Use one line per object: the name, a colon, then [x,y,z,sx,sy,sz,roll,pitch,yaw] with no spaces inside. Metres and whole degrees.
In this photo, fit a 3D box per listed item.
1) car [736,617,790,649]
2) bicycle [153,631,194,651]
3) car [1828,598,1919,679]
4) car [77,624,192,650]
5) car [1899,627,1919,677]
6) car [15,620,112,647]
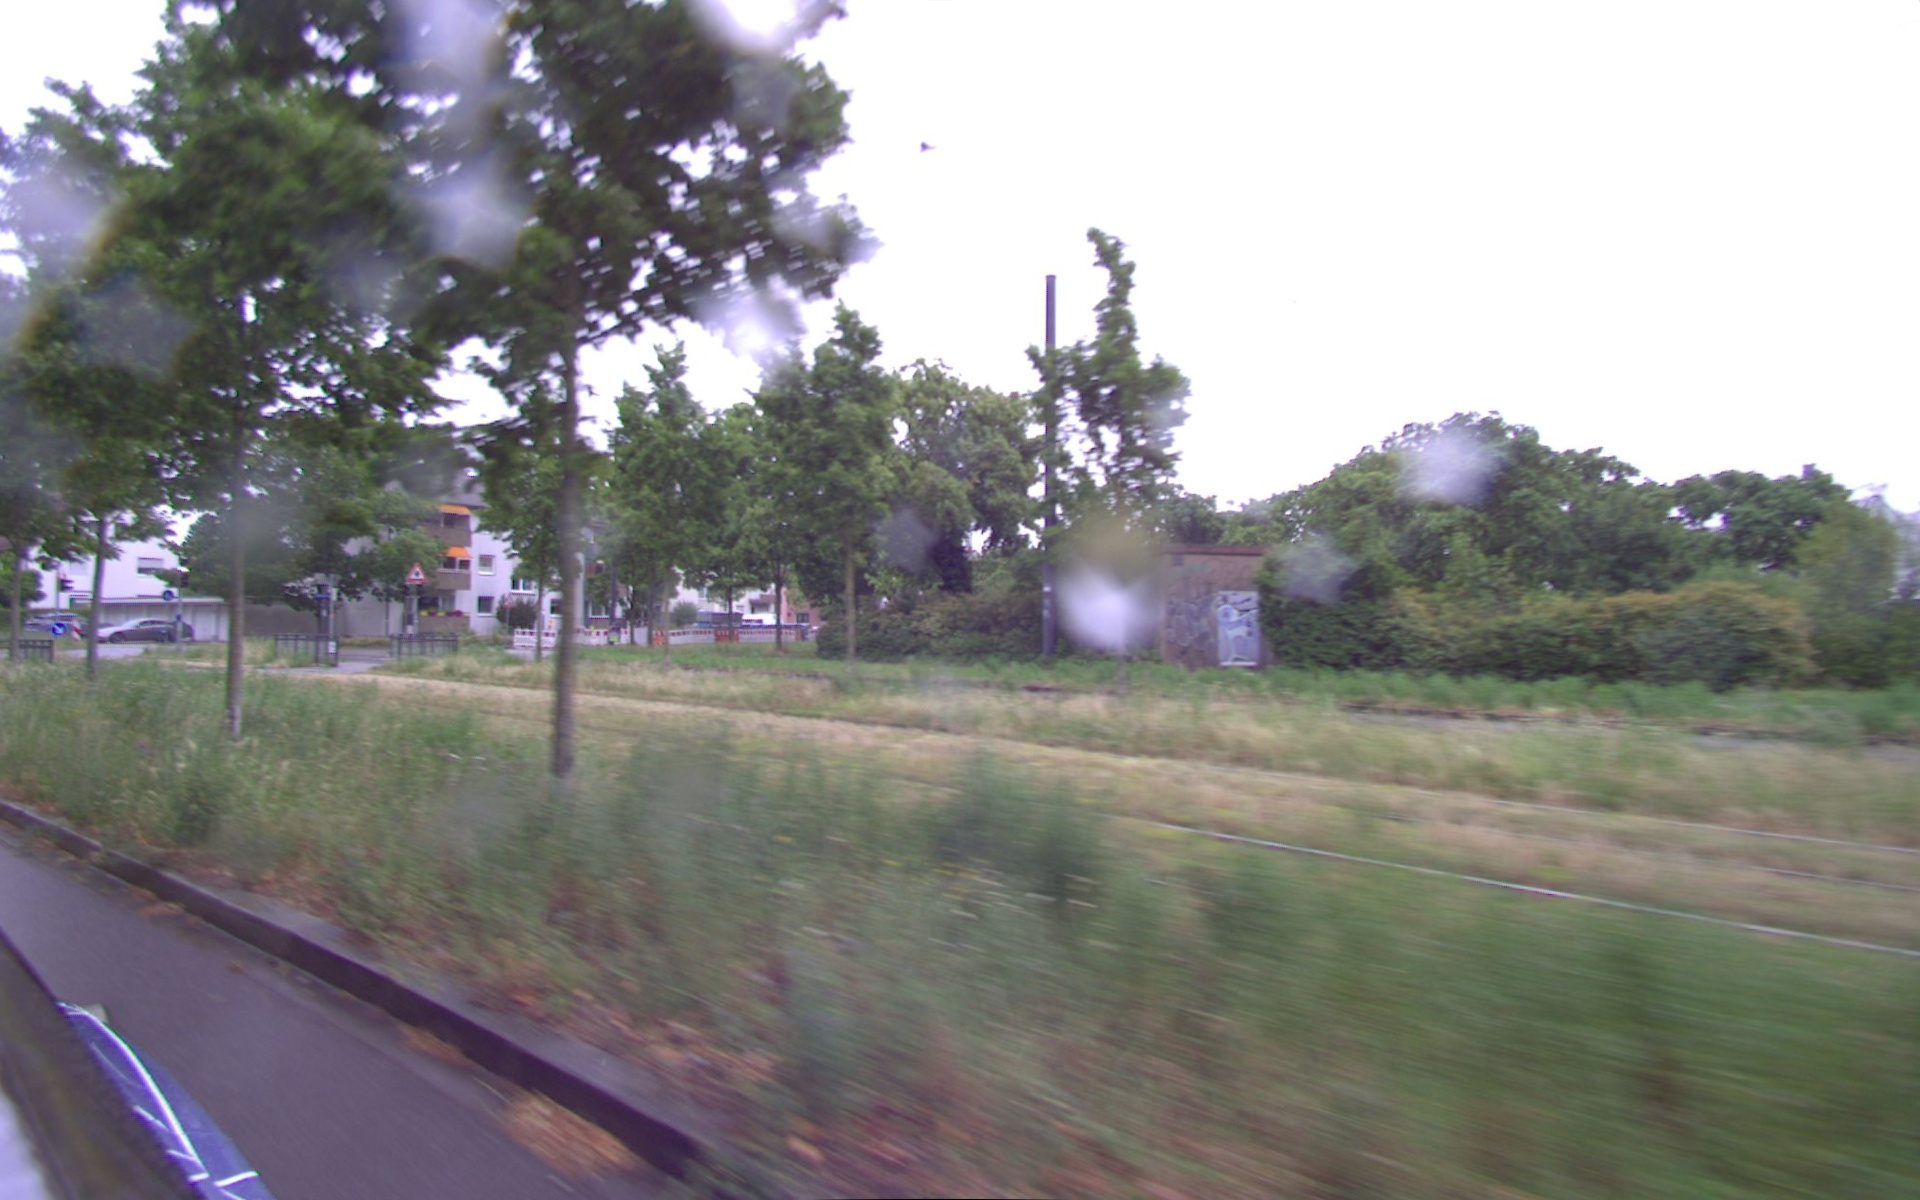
car: [-15.712,2.661,80.939,1.907,2.465,4.432,-1,-3,25]
bicycle: [-41.954,2.187,53.974,1.817,1.027,0.482,-1,1,2]
car: [24.368,0.950,24.513,2.002,1.962,4.728,1,-2,-15]
car: [-46.642,2.042,57.308,1.839,1.376,4.695,-1,-1,28]
car: [26.985,1.347,25.821,1.807,1.349,4.107,1,-2,-12]
car: [-53.916,2.040,60.954,1.882,1.588,3.966,-1,-2,25]
